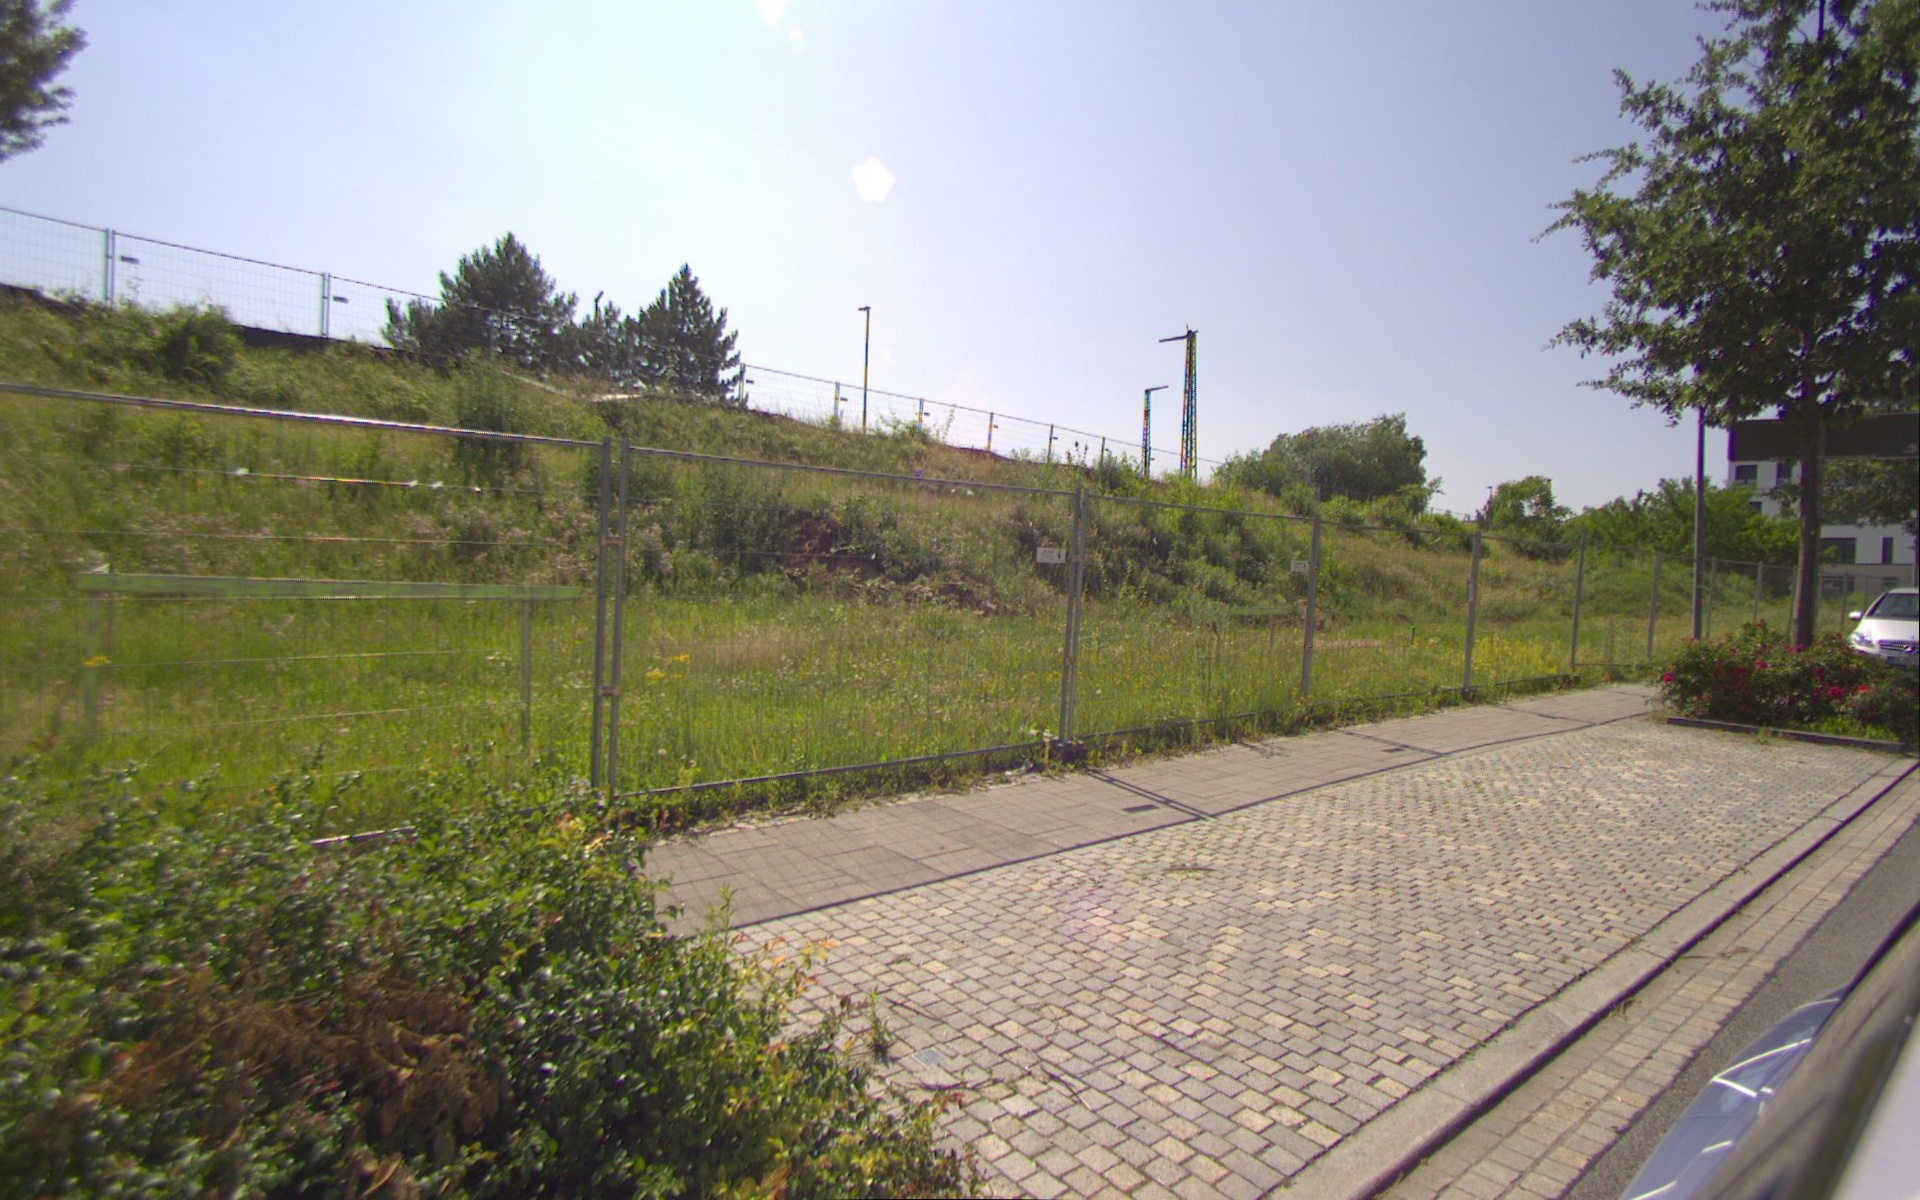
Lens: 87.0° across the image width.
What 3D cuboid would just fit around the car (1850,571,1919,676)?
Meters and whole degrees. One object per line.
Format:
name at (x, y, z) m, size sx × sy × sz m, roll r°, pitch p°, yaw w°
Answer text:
car at (17.089, 0.424, 17.547) m, size 4.293 × 1.635 × 1.847 m, roll 1°, pitch 4°, yaw -41°
